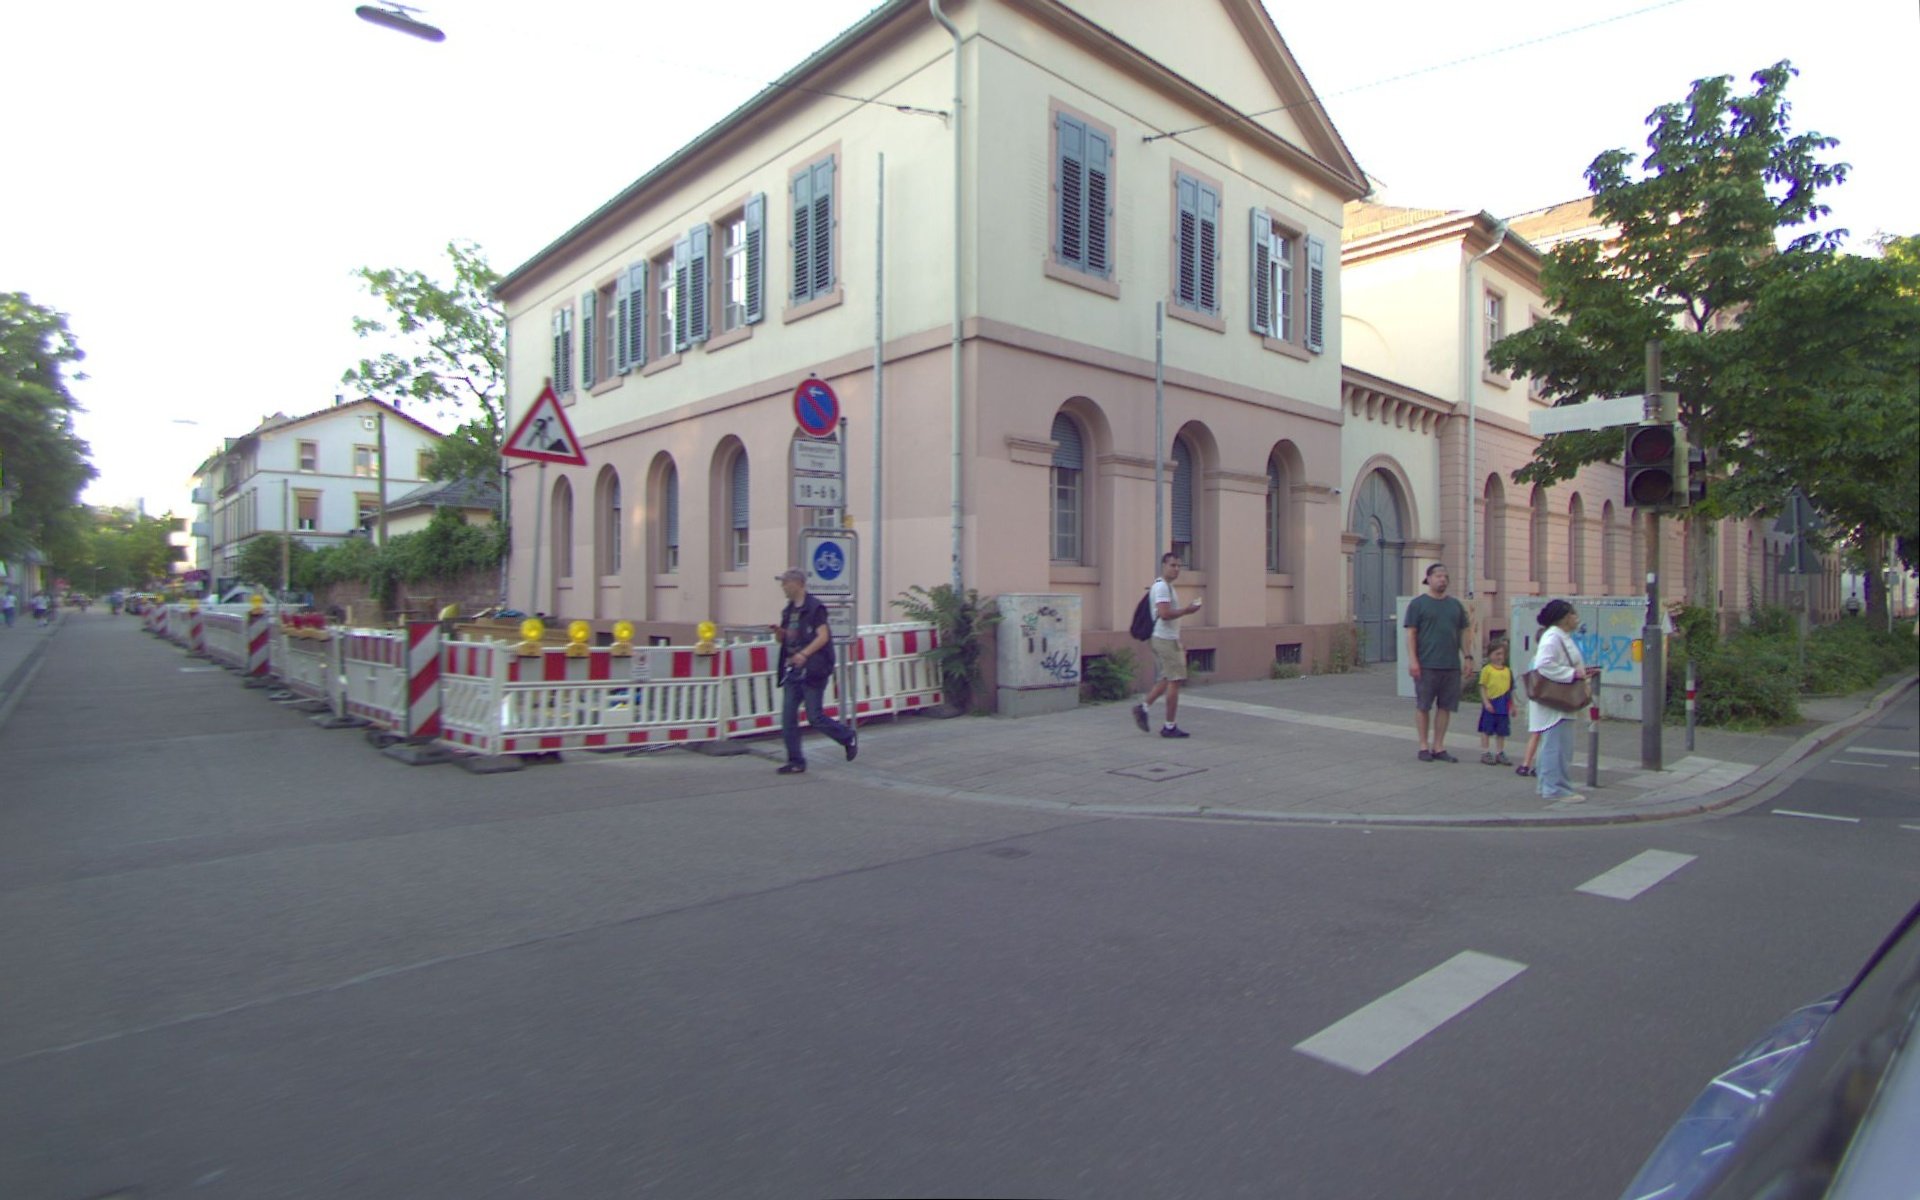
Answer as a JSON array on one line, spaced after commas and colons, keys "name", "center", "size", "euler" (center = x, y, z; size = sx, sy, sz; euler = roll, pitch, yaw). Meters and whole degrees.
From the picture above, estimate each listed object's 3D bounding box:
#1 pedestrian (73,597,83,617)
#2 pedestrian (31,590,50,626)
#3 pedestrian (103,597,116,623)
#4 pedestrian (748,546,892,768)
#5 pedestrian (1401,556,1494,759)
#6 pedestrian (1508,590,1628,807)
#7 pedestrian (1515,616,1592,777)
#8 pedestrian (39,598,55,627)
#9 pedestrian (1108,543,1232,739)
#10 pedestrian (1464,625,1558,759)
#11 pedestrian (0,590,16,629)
[{"name": "pedestrian", "center": [-74.766, 0.561, 85.760], "size": [0.639, 1.674, 0.649], "euler": [0, 0, -42]}, {"name": "pedestrian", "center": [-42.780, 0.376, 47.074], "size": [0.639, 1.674, 0.649], "euler": [0, 0, -42]}, {"name": "pedestrian", "center": [-56.098, 0.650, 66.783], "size": [0.639, 1.674, 0.649], "euler": [0, 0, -42]}, {"name": "pedestrian", "center": [-1.224, 0.460, 8.899], "size": [1.047, 1.818, 0.698], "euler": [0, 0, -41]}, {"name": "pedestrian", "center": [4.498, 0.503, 9.336], "size": [0.566, 1.796, 0.544], "euler": [1, 2, -41]}, {"name": "pedestrian", "center": [4.600, 0.705, 7.699], "size": [0.592, 1.530, 0.716], "euler": [2, 1, 19]}, {"name": "pedestrian", "center": [4.994, 0.790, 8.543], "size": [0.446, 1.277, 0.486], "euler": [2, 1, 22]}, {"name": "pedestrian", "center": [-51.821, 0.700, 57.459], "size": [0.639, 1.674, 0.649], "euler": [0, 0, -42]}, {"name": "pedestrian", "center": [2.132, 0.385, 10.277], "size": [1.030, 1.878, 0.699], "euler": [1, 1, -37]}, {"name": "pedestrian", "center": [5.058, 0.831, 9.307], "size": [0.534, 1.159, 0.494], "euler": [1, 1, -16]}, {"name": "pedestrian", "center": [-41.002, 0.395, 43.465], "size": [0.639, 1.674, 0.649], "euler": [0, 0, -42]}]
